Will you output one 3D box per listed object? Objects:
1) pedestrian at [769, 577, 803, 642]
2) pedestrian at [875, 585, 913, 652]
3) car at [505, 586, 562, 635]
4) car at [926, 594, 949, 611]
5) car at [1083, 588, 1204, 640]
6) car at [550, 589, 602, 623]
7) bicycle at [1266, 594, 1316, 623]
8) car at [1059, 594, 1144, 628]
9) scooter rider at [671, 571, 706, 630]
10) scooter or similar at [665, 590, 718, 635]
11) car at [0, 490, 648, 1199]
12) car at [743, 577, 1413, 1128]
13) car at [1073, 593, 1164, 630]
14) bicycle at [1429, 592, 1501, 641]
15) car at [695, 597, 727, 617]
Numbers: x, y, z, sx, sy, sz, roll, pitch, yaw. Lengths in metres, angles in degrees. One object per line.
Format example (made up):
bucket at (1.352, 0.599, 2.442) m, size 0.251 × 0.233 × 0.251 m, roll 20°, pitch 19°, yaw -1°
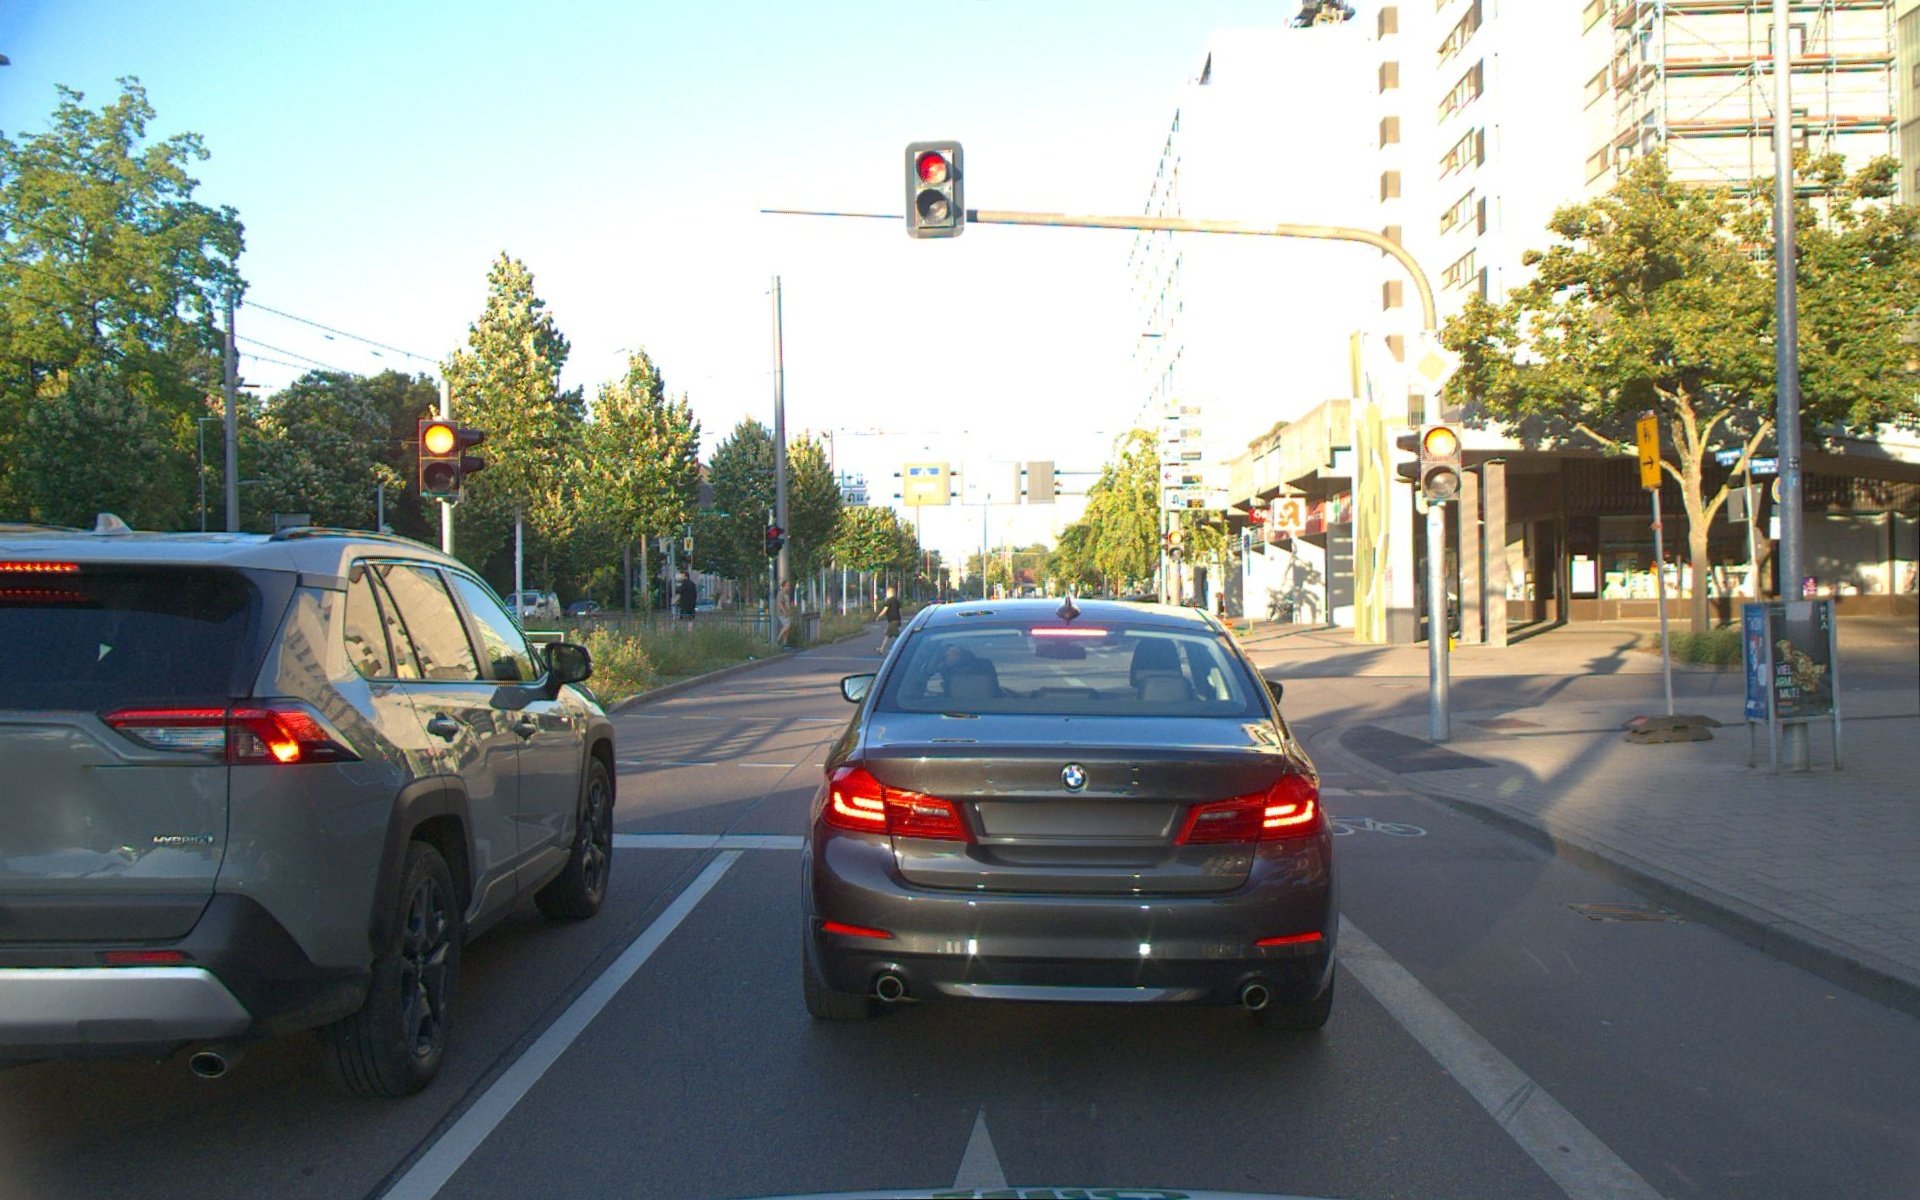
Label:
pedestrian at (-4.678, 0.253, 44.507) m, size 0.818 × 1.742 × 0.647 m, roll -1°, pitch 0°, yaw -1°
pedestrian at (-1.608, 0.448, 40.419) m, size 0.817 × 1.614 × 0.812 m, roll -1°, pitch 0°, yaw 3°
car at (-20.743, 0.484, 80.581) m, size 1.955 × 2.205 × 4.746 m, roll 0°, pitch 1°, yaw -6°
car at (-1.974, 0.208, 147.243) m, size 1.938 × 1.458 × 4.843 m, roll 0°, pitch 1°, yaw 0°
car at (6.355, 0.451, 57.006) m, size 4.233 × 1.687 × 1.832 m, roll -1°, pitch 2°, yaw -43°
car at (-21.873, 0.316, 94.294) m, size 1.953 × 1.775 × 4.750 m, roll 0°, pitch 1°, yaw -1°
bicycle at (13.868, 0.360, 69.413) m, size 1.973 × 1.169 × 0.691 m, roll 2°, pitch -1°, yaw 6°
car at (7.347, 0.557, 85.537) m, size 4.219 × 1.687 × 1.838 m, roll 0°, pitch 1°, yaw -35°
scooter rider at (-7.225, 0.023, 44.071) m, size 0.804 × 1.540 × 0.652 m, roll -1°, pitch 0°, yaw -3°
scooter or similar at (-7.151, 0.332, 44.056) m, size 1.302 × 1.173 × 0.513 m, roll -1°, pitch 0°, yaw -3°
car at (-2.405, 0.541, 5.960) m, size 1.817 × 1.687 × 4.268 m, roll 0°, pitch 1°, yaw -1°
car at (0.460, 0.679, 6.963) m, size 1.891 × 1.507 × 4.525 m, roll 0°, pitch 1°, yaw 3°
car at (7.619, 0.540, 79.356) m, size 4.220 × 1.687 × 1.837 m, roll -1°, pitch 1°, yaw -36°
bicycle at (12.744, 0.412, 41.776) m, size 0.678 × 1.169 × 2.012 m, roll 2°, pitch -1°, yaw -18°
car at (-18.920, 0.508, 125.759) m, size 1.763 × 1.507 × 3.783 m, roll -1°, pitch 0°, yaw 1°
